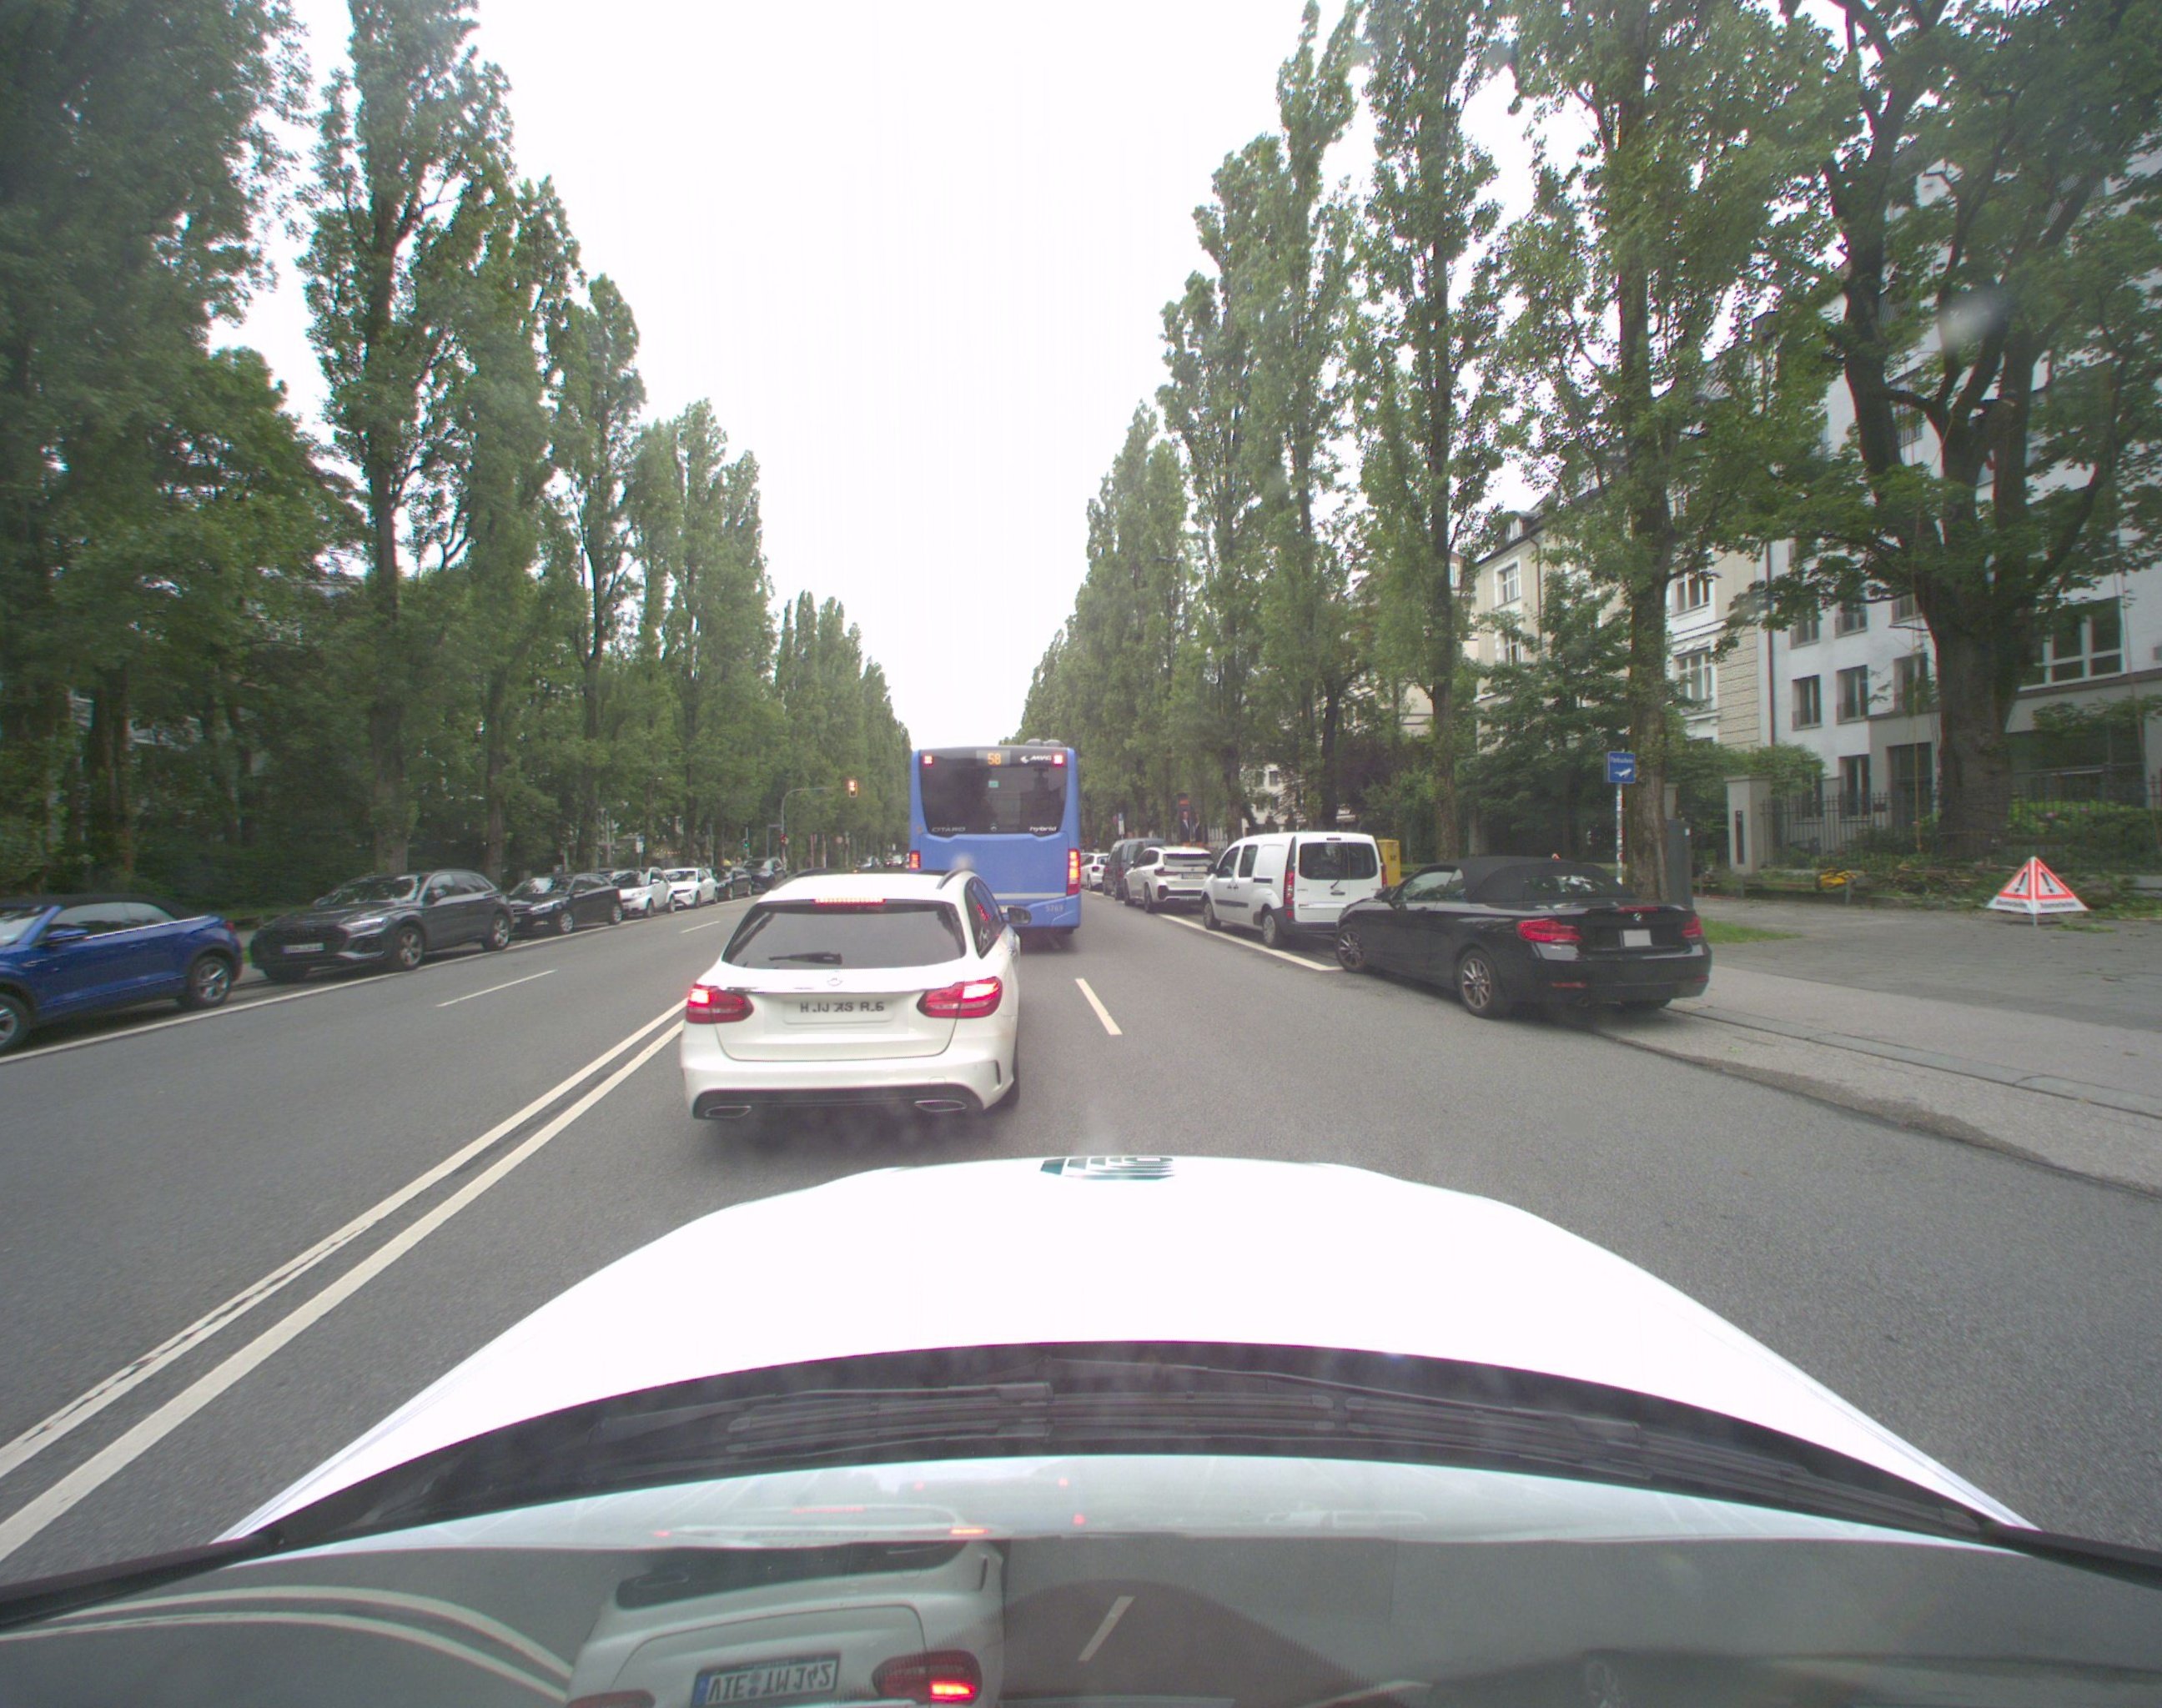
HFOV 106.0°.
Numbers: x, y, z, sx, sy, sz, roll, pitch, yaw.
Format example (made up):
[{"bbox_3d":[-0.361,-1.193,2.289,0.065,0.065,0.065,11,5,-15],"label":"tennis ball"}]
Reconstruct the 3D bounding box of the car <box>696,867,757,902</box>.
[{"bbox_3d":[-15.000,1.246,34.624,1.288,1.273,3.839,-2,0,-7],"label":"car"}]

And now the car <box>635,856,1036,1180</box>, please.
[{"bbox_3d":[-1.319,0.755,6.110,1.823,1.454,4.575,-1,0,-5],"label":"car"}]

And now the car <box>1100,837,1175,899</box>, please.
[{"bbox_3d":[1.730,0.406,26.148,1.701,1.836,3.991,0,0,-7],"label":"car"}]

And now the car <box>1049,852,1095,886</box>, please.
[{"bbox_3d":[-0.538,0.723,42.575,1.809,1.618,3.987,-2,0,-9],"label":"car"}]

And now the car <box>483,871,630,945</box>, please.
[{"bbox_3d":[-12.900,1.255,20.315,1.539,1.433,3.857,-5,1,-9],"label":"car"}]

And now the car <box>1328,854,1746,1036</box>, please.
[{"bbox_3d":[4.217,0.704,8.386,1.745,1.354,3.991,-1,0,-7],"label":"car"}]

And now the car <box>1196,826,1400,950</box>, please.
[{"bbox_3d":[3.462,0.487,13.911,1.833,1.773,4.217,0,0,-9],"label":"car"}]

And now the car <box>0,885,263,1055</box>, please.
[{"bbox_3d":[-11.543,1.225,8.863,1.745,1.518,4.099,-4,1,-14],"label":"car"}]

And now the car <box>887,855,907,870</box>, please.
[{"bbox_3d":[-19.537,0.896,86.611,1.821,1.486,3.988,-2,0,-9],"label":"car"}]

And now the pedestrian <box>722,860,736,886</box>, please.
[{"bbox_3d":[-27.444,1.472,63.506,0.830,2.013,0.775,-2,0,-10],"label":"pedestrian"}]

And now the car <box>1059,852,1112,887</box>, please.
[{"bbox_3d":[0.133,0.667,37.470,1.785,1.491,3.987,-2,0,-9],"label":"car"}]

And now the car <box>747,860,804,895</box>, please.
[{"bbox_3d":[-15.065,1.137,40.318,1.706,1.552,3.990,-2,0,-7],"label":"car"}]

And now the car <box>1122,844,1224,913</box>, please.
[{"bbox_3d":[2.248,0.564,20.930,1.676,1.596,4.076,0,0,-8],"label":"car"}]

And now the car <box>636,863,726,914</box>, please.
[{"bbox_3d":[-14.206,1.169,29.149,1.708,1.548,3.987,-2,0,-9],"label":"car"}]

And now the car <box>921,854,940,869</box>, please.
[{"bbox_3d":[-17.690,0.871,96.018,1.993,1.619,3.988,-2,0,-9],"label":"car"}]

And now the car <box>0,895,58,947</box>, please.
[{"bbox_3d":[-38.377,2.401,27.887,1.998,1.684,4.243,-2,0,-16],"label":"car"}]

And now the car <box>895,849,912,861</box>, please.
[{"bbox_3d":[-25.486,0.124,116.930,1.992,1.592,4.431,-2,0,-8],"label":"car"}]

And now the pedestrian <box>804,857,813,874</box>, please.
[{"bbox_3d":[-32.655,1.349,97.478,0.831,2.013,0.775,-2,0,-12],"label":"pedestrian"}]

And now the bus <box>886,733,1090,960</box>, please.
[{"bbox_3d":[-1.437,-0.145,16.232,2.848,3.213,9.054,-1,0,-1],"label":"bus"}]

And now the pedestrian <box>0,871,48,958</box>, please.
[{"bbox_3d":[-22.152,1.248,16.872,0.599,1.739,0.638,-2,0,-8],"label":"pedestrian"}]

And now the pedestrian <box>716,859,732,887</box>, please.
[{"bbox_3d":[-22.788,1.233,52.028,0.703,1.736,0.807,-2,0,-10],"label":"pedestrian"}]

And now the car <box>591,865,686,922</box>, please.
[{"bbox_3d":[-13.666,1.155,25.332,1.409,1.552,3.435,-2,0,-7],"label":"car"}]

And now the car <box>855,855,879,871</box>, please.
[{"bbox_3d":[-21.170,0.857,80.805,1.821,1.486,3.988,-2,0,-9],"label":"car"}]

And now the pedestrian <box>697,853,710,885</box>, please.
[{"bbox_3d":[-24.637,0.973,53.153,0.502,2.013,0.599,-2,0,-9],"label":"pedestrian"}]

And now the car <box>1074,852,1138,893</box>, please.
[{"bbox_3d":[0.940,0.682,32.405,1.798,1.475,3.987,-2,0,-9],"label":"car"}]

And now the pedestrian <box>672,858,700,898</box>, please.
[{"bbox_3d":[-18.078,1.074,37.275,0.822,1.764,1.077,-2,0,-11],"label":"pedestrian"}]

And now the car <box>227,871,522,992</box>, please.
[{"bbox_3d":[-12.027,1.199,14.347,1.791,1.548,4.325,-5,1,-9],"label":"car"}]

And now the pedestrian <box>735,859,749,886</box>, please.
[{"bbox_3d":[-26.594,1.452,63.897,0.830,2.013,0.775,-2,0,-10],"label":"pedestrian"}]
